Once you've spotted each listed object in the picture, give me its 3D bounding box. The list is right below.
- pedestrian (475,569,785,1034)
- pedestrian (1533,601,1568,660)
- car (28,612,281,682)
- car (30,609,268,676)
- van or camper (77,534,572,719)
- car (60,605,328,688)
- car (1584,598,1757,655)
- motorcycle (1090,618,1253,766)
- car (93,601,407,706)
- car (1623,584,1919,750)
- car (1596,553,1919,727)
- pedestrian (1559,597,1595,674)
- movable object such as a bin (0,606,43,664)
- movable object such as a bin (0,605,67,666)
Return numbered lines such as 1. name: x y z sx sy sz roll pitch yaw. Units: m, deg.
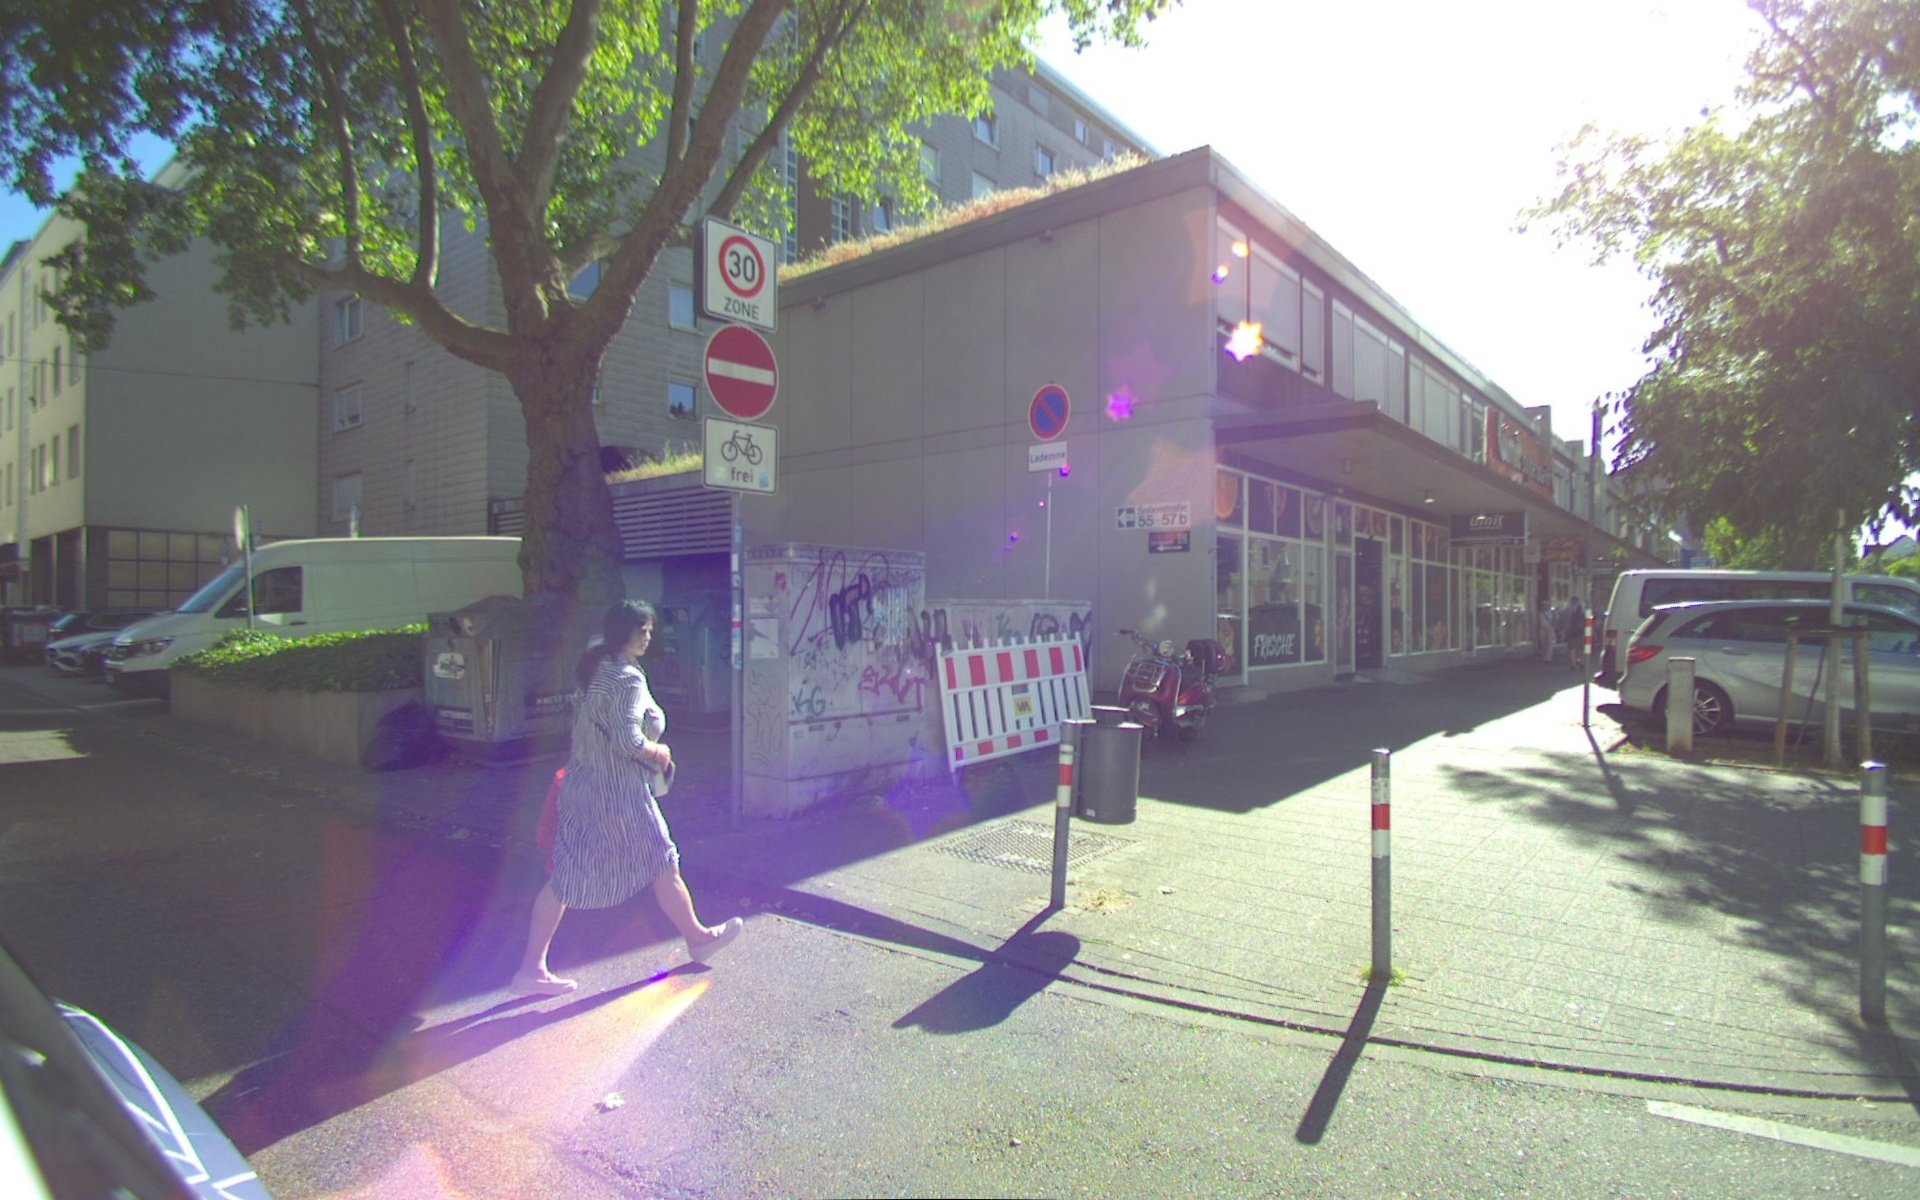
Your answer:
1. pedestrian: -1.311 0.696 4.056 0.845 1.585 0.836 -2 -1 37
2. pedestrian: 15.538 0.789 26.612 0.689 1.533 0.525 1 0 41
3. car: -18.645 1.028 23.640 1.595 1.474 4.368 -1 -1 33
4. car: -20.207 1.001 25.404 1.694 1.545 4.368 -1 -1 33
5. van or camper: -10.444 0.232 17.404 1.999 2.593 6.836 -1 2 40
6. car: -16.551 0.944 22.103 1.694 1.629 4.368 -1 -1 33
7. car: 26.559 0.958 37.951 5.224 1.996 1.640 0 -1 39
8. motorcycle: 2.022 0.792 9.472 0.669 1.189 1.896 -1 0 40
9. car: -12.732 0.860 18.403 1.697 1.545 4.361 -1 1 38
10. car: 9.751 0.675 10.834 4.299 1.625 1.735 -1 -1 39
11. car: 11.105 0.469 13.047 4.739 2.021 1.934 1 0 38
12. pedestrian: 13.681 0.777 22.441 0.566 1.678 0.702 1 0 41
13. movable object such as a bin: -25.232 0.912 26.764 1.515 1.512 1.207 -1 -1 38
14. movable object such as a bin: -23.992 0.894 26.051 1.193 1.512 1.312 -1 -1 38
